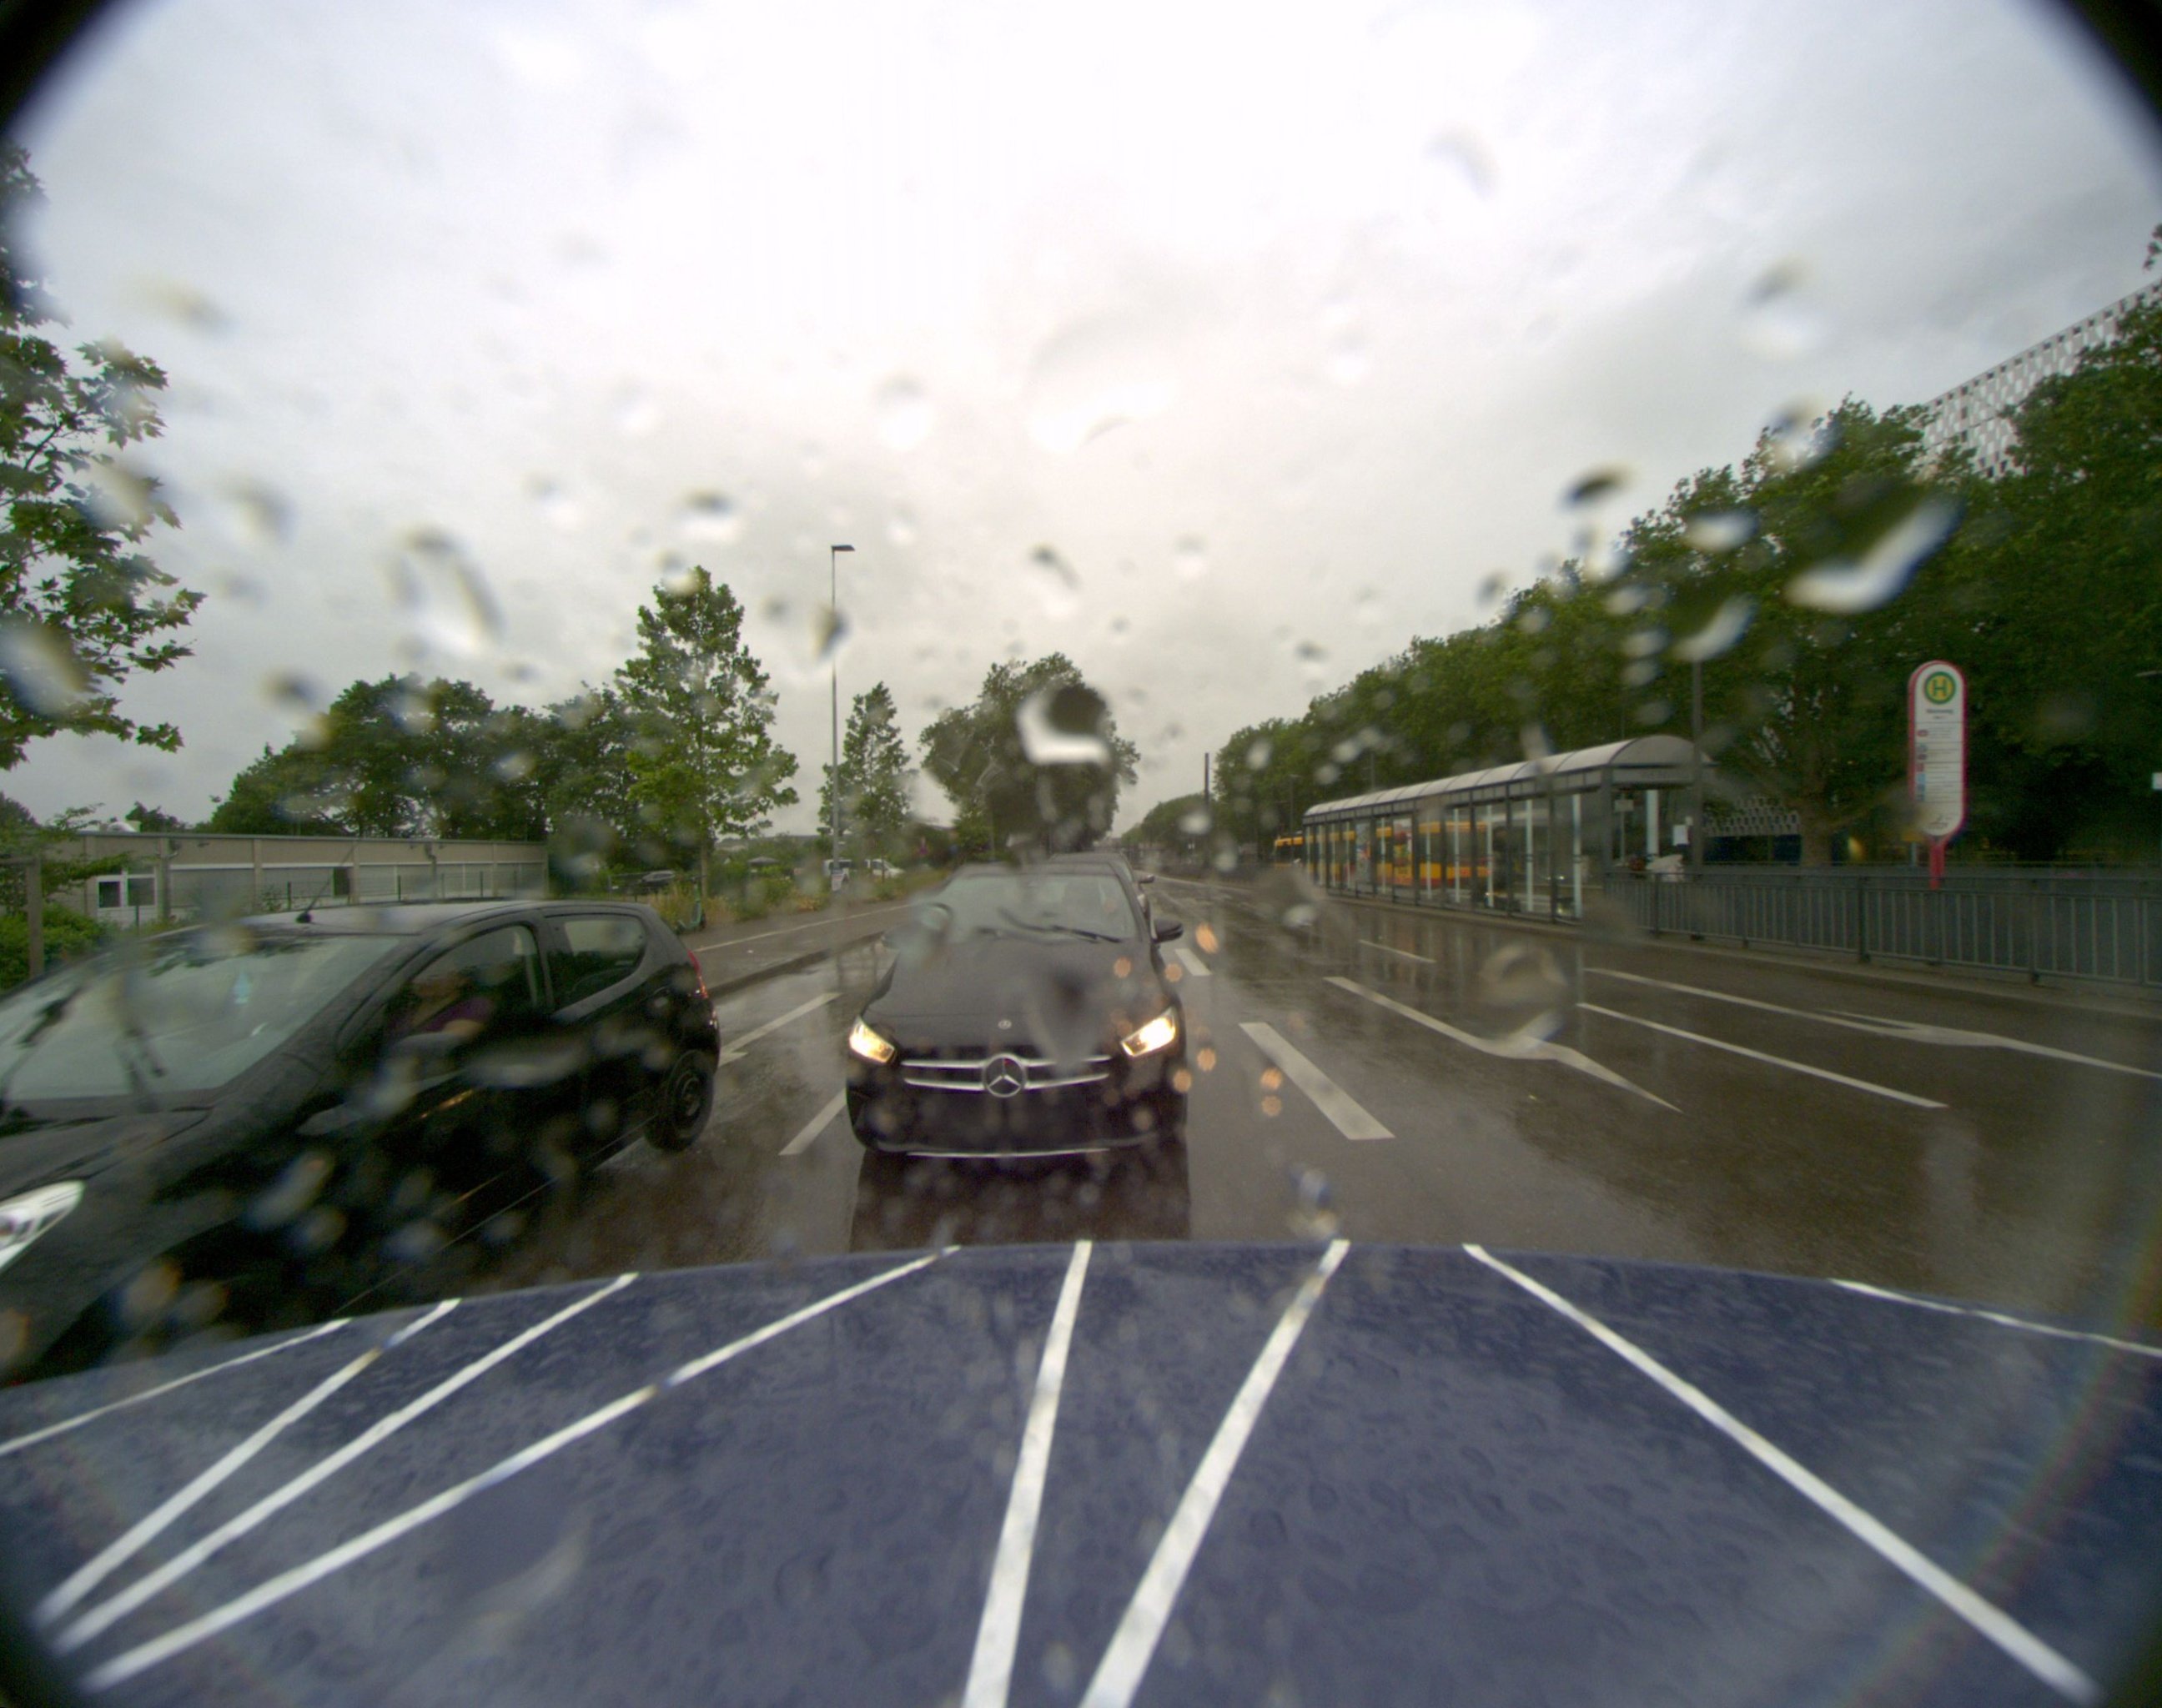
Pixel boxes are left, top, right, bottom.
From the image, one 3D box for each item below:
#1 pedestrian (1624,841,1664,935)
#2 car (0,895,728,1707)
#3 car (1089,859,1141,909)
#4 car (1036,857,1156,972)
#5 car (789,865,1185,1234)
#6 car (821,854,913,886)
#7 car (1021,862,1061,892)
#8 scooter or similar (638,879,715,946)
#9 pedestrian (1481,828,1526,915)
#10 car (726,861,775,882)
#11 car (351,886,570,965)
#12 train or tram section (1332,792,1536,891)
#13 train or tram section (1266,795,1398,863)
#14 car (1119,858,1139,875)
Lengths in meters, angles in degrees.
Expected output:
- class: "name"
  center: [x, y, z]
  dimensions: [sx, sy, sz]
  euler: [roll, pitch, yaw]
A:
- class: "pedestrian"
  center: [9.173, 0.540, 12.383]
  dimensions: [0.321, 1.485, 0.415]
  euler: [-3, 2, 6]
- class: "car"
  center: [-2.969, 1.014, 2.811]
  dimensions: [1.557, 1.500, 3.618]
  euler: [-2, 0, 1]
- class: "car"
  center: [1.115, 0.987, 26.646]
  dimensions: [1.557, 1.541, 3.717]
  euler: [-3, 0, 0]
- class: "car"
  center: [0.272, 0.866, 12.775]
  dimensions: [1.689, 1.611, 4.000]
  euler: [-1, 0, 2]
- class: "car"
  center: [-0.216, 0.918, 5.487]
  dimensions: [1.758, 1.572, 4.171]
  euler: [-2, 0, 6]
- class: "car"
  center: [-13.487, 0.978, 48.185]
  dimensions: [5.174, 1.715, 2.006]
  euler: [-3, 1, -1]
- class: "car"
  center: [-1.888, 1.069, 36.532]
  dimensions: [1.617, 1.301, 3.717]
  euler: [-3, 0, 1]
- class: "scooter or similar"
  center: [-8.191, 1.153, 15.477]
  dimensions: [0.367, 1.192, 1.913]
  euler: [-2, 1, 4]
- class: "pedestrian"
  center: [9.247, 0.374, 16.637]
  dimensions: [0.655, 1.860, 0.773]
  euler: [-2, 1, 17]
- class: "car"
  center: [-28.233, 1.499, 65.012]
  dimensions: [3.552, 1.574, 1.345]
  euler: [-3, 1, 6]
- class: "car"
  center: [-12.028, 1.374, 14.817]
  dimensions: [3.243, 1.281, 1.345]
  euler: [-3, 1, 6]
- class: "train or tram section"
  center: [16.510, -0.552, 37.472]
  dimensions: [3.751, 3.817, 13.253]
  euler: [-3, 0, 0]
- class: "train or tram section"
  center: [16.460, -1.508, 51.895]
  dimensions: [3.751, 3.777, 15.569]
  euler: [-3, 0, 0]
- class: "car"
  center: [4.235, 1.092, 67.475]
  dimensions: [1.557, 1.301, 3.717]
  euler: [-3, 0, 1]
